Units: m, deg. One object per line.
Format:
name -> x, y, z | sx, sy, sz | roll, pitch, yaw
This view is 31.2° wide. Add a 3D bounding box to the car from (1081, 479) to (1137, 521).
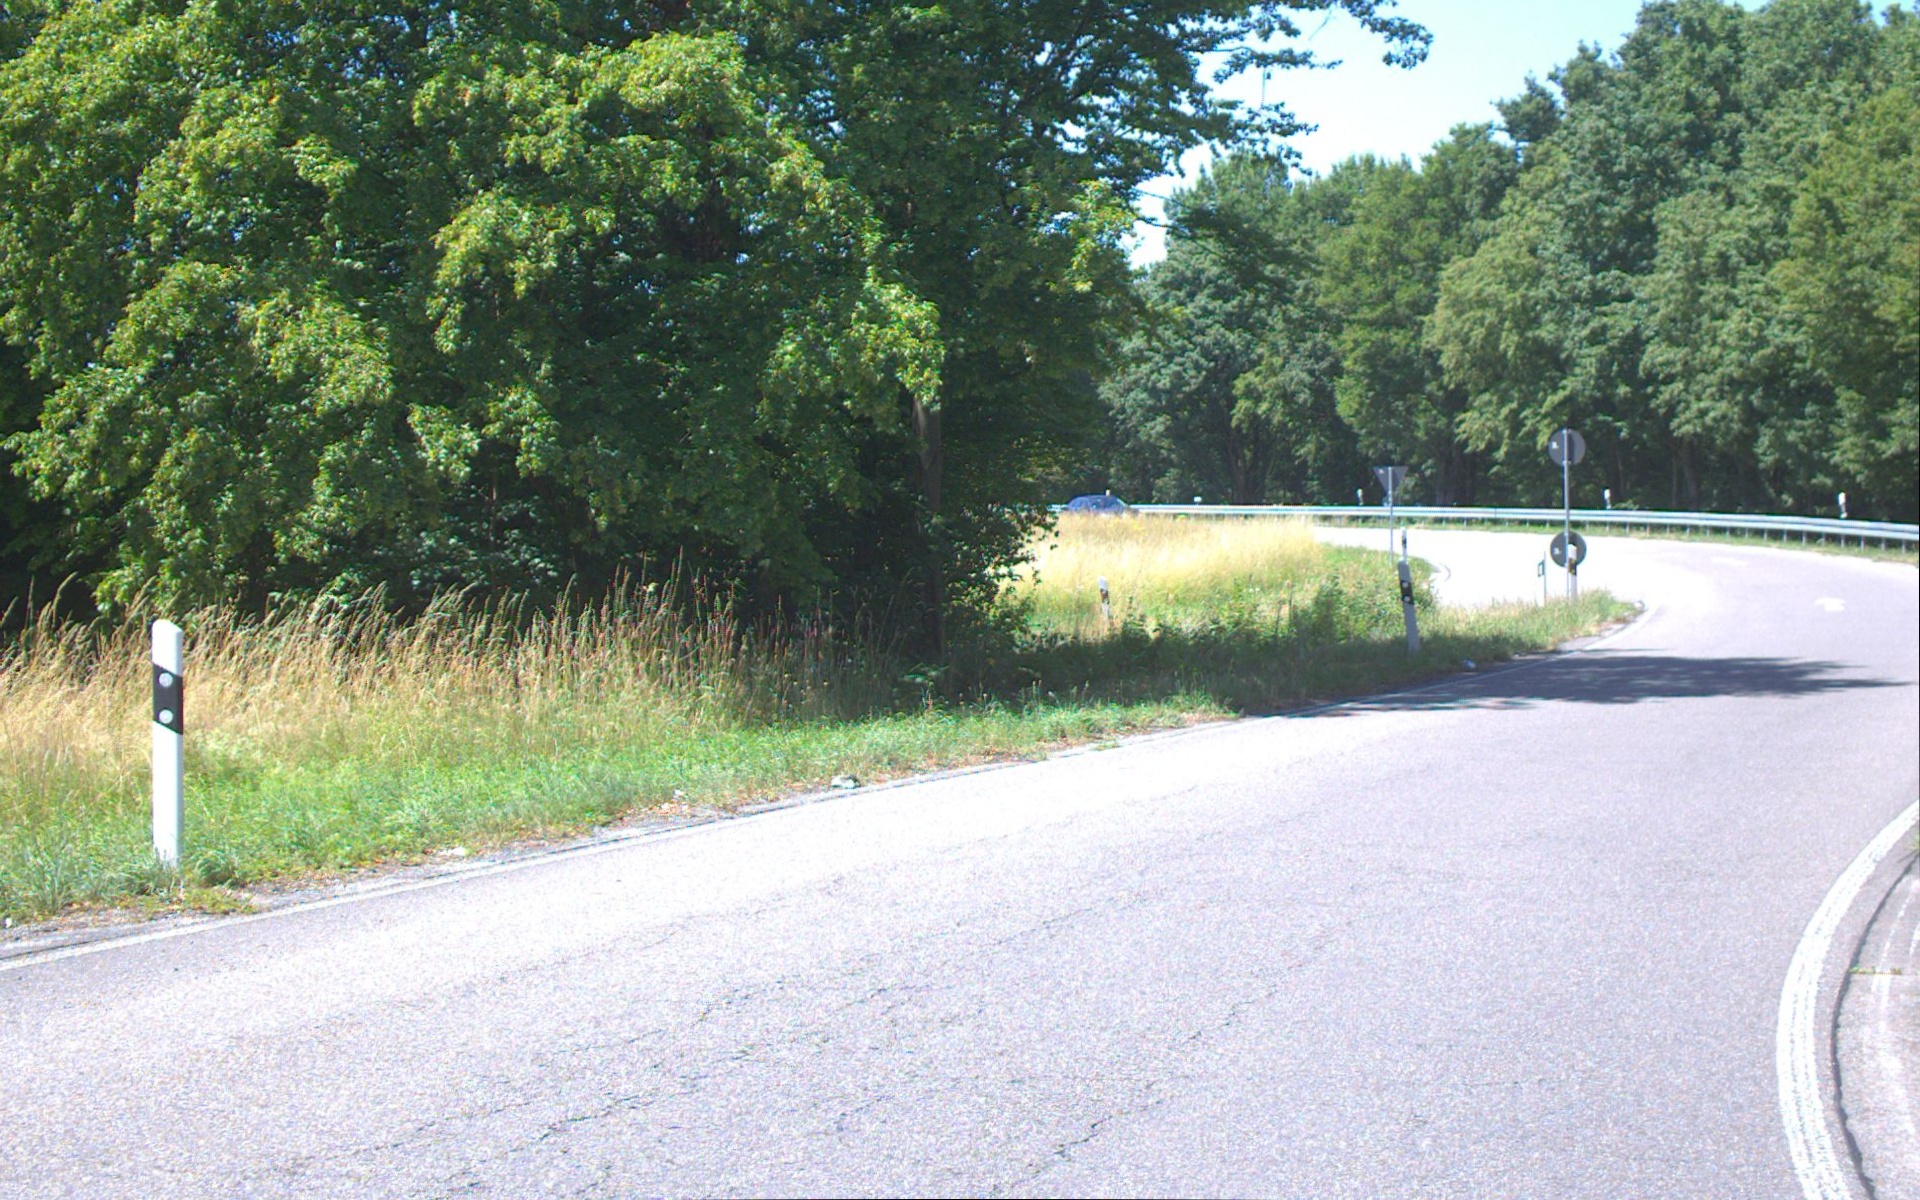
car -> 5.902, -3.943, 136.256 | 1.802, 1.501, 4.659 | -3, 1, -2
